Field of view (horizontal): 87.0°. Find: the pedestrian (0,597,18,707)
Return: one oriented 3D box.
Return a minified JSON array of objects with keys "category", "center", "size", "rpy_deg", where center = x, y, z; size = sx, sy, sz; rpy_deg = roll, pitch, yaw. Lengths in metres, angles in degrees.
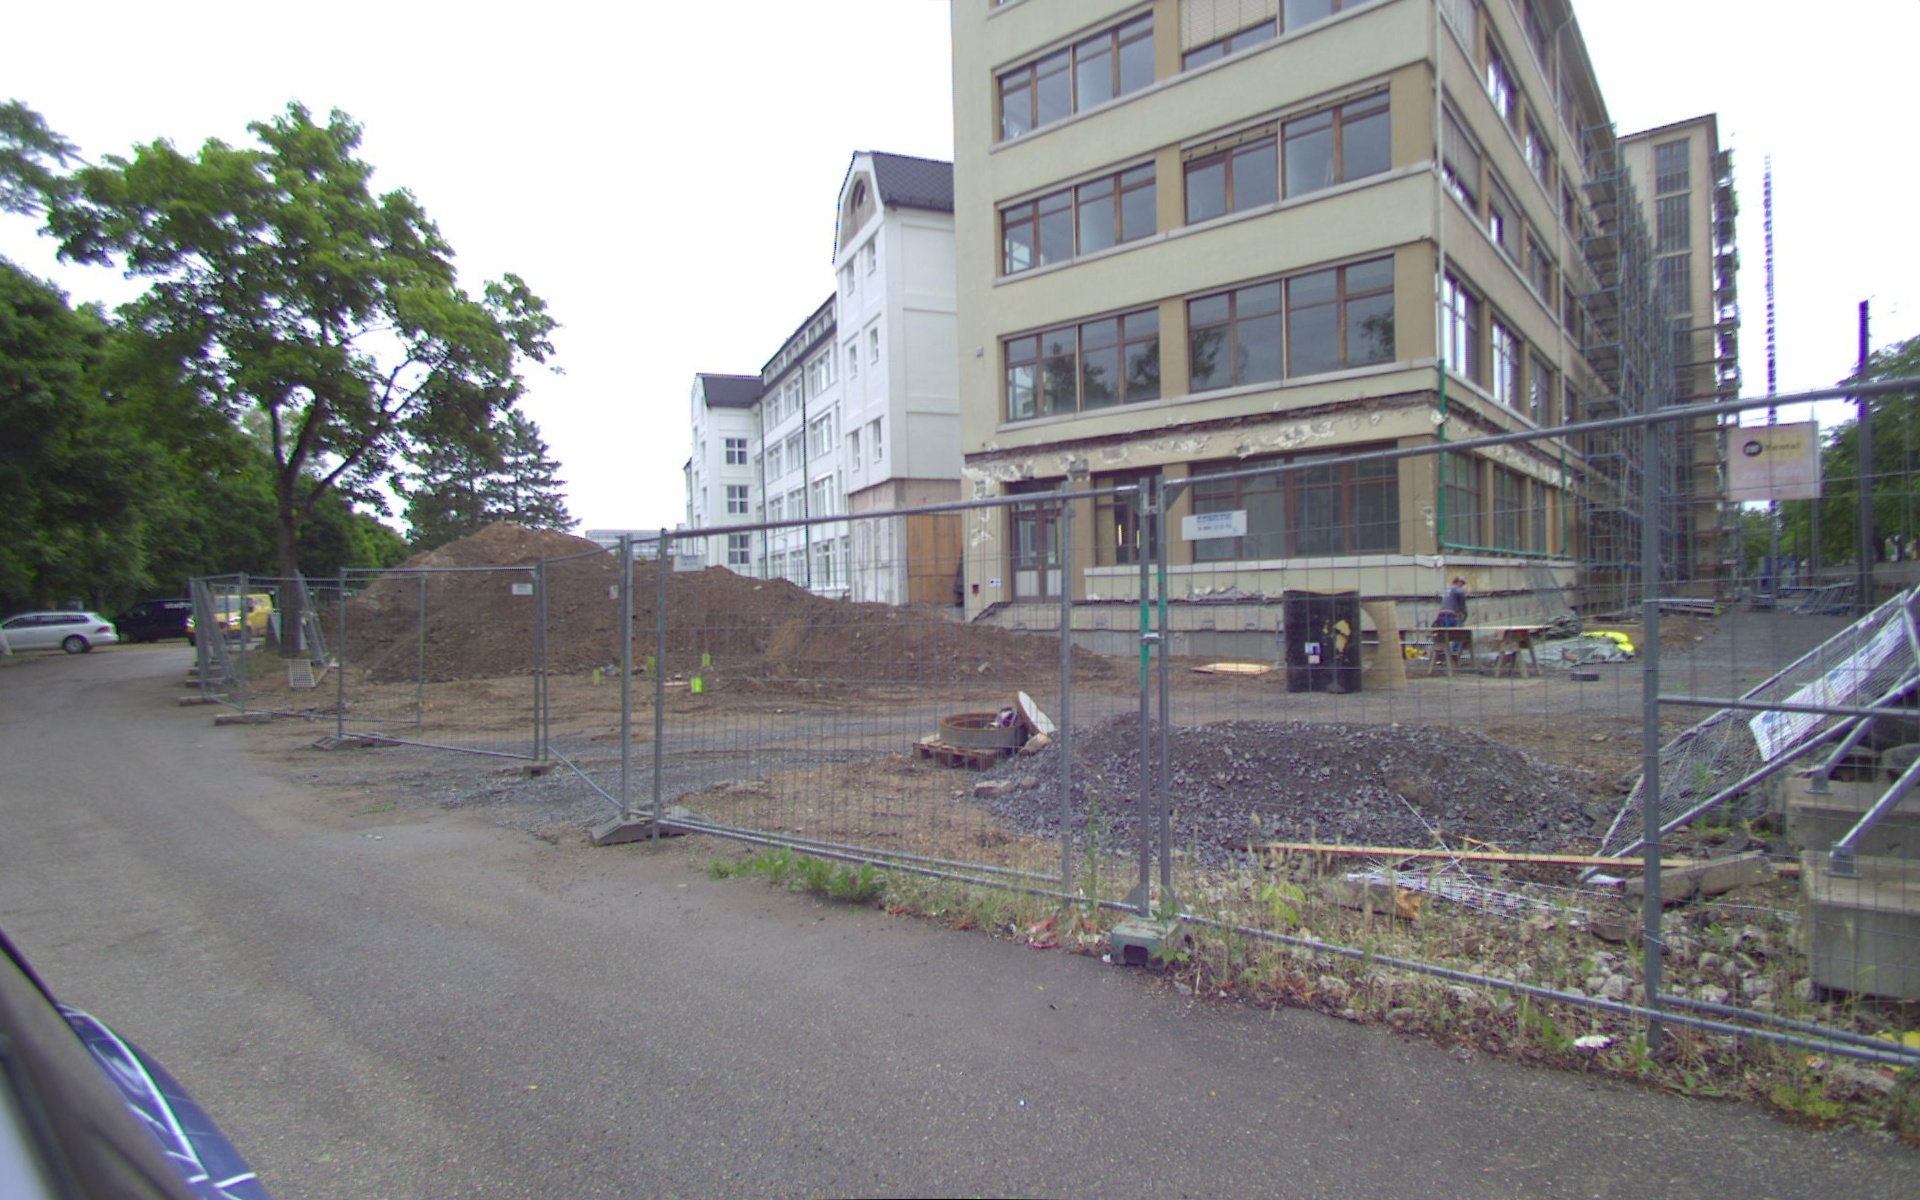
[{"category":"pedestrian","center":[-16.045,0.857,16.498],"size":[0.657,1.795,0.747],"rpy_deg":[-1,0,16]}]

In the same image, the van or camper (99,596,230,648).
[{"category":"van or camper","center":[-37.073,0.985,47.305],"size":[4.423,2.275,2.007],"rpy_deg":[-1,0,-23]}]

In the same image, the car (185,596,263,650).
[{"category":"car","center":[-29.703,0.885,40.958],"size":[2.089,2.029,4.012],"rpy_deg":[-1,0,-30]}]

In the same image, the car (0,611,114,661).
[{"category":"car","center":[-32.250,1.247,35.454],"size":[3.822,1.586,1.756],"rpy_deg":[-1,0,-35]}]

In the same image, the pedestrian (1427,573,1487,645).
[{"category":"pedestrian","center":[10.304,0.184,21.015],"size":[0.975,1.448,0.925],"rpy_deg":[-1,0,19]}]
